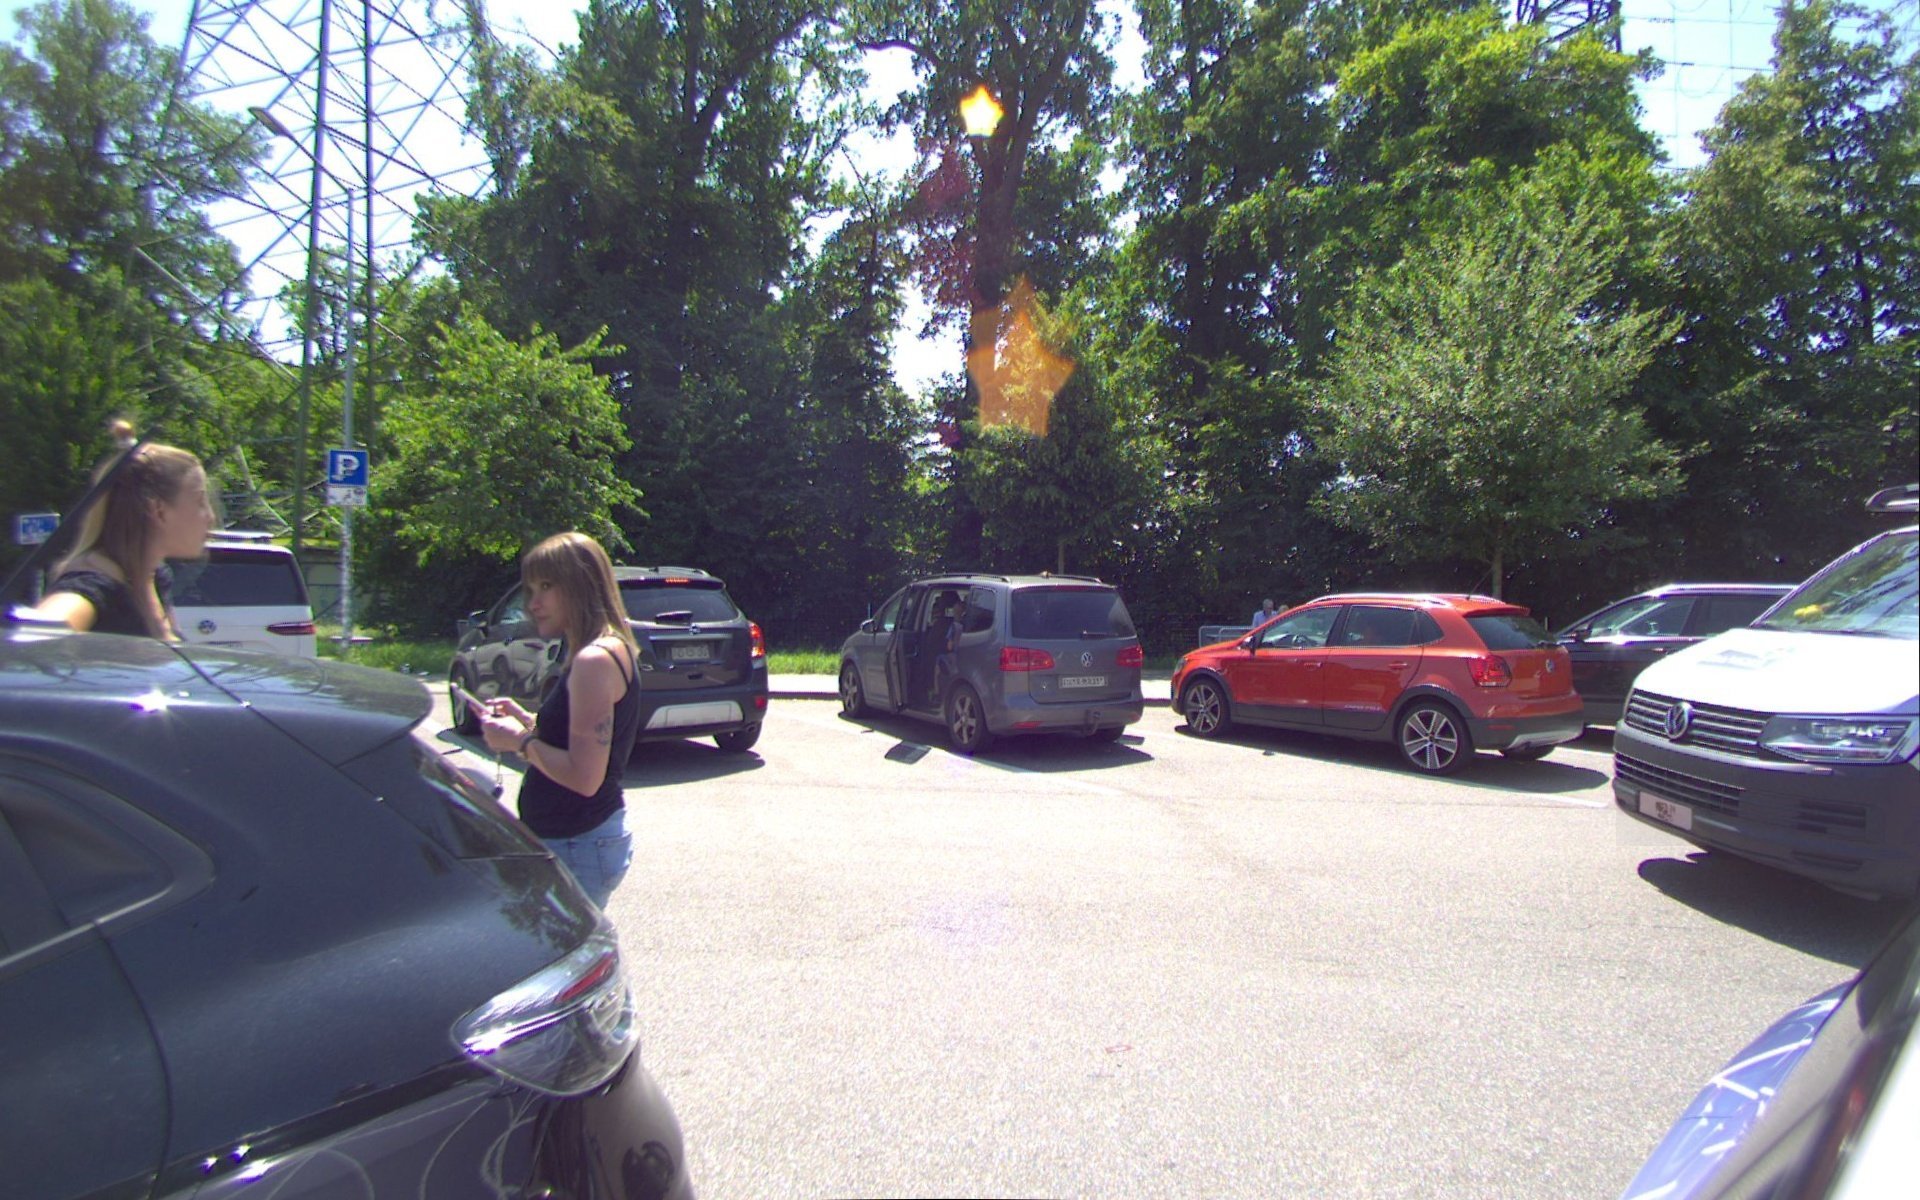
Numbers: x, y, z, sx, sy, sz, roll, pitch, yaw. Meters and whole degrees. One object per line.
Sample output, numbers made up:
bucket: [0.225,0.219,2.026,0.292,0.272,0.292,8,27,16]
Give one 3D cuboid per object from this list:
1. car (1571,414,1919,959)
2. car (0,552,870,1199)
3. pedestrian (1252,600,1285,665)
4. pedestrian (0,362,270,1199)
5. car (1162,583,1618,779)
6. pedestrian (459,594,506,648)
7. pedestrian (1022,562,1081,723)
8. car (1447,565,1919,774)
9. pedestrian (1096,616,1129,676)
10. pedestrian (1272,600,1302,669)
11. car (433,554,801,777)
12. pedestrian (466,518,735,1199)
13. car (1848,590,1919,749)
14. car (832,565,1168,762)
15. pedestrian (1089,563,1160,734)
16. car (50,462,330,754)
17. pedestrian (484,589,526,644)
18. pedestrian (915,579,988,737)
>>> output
car: [6.135,0.357,4.699,5.336,2.131,1.842,1,1,4]
car: [-2.013,0.705,0.834,1.776,1.476,3.628,0,1,43]
pedestrian: [5.788,0.600,18.999,0.433,1.207,0.414,0,0,-30]
pedestrian: [-2.020,0.466,2.489,0.478,1.883,0.913,1,-1,-33]
car: [3.861,0.610,9.660,1.588,1.485,3.751,1,0,-34]
pedestrian: [-10.809,0.461,22.907,0.785,1.178,0.696,0,0,39]
pedestrian: [1.024,0.457,11.309,0.500,1.744,0.438,0,0,-24]
car: [7.069,0.544,9.842,1.679,1.637,3.863,1,0,-40]
pedestrian: [2.373,0.707,15.763,0.494,0.890,0.512,0,0,10]
pedestrian: [5.816,0.609,18.002,0.348,1.207,0.367,0,0,-20]
car: [-3.420,0.473,9.592,1.807,1.637,4.159,1,0,-42]
pedestrian: [-0.934,0.621,2.629,0.477,1.614,0.502,1,-1,-44]
car: [10.448,0.665,8.834,1.813,1.473,3.776,1,0,-36]
car: [0.205,0.516,10.541,1.670,1.637,3.912,0,0,-30]
pedestrian: [1.726,0.495,10.645,0.576,1.744,0.483,0,0,-20]
car: [-8.387,0.056,10.816,1.897,2.400,4.963,1,-1,-43]
pedestrian: [-11.019,0.390,24.526,0.539,1.318,0.758,0,0,37]
pedestrian: [-0.084,0.551,10.039,0.511,1.516,0.560,0,0,-30]
